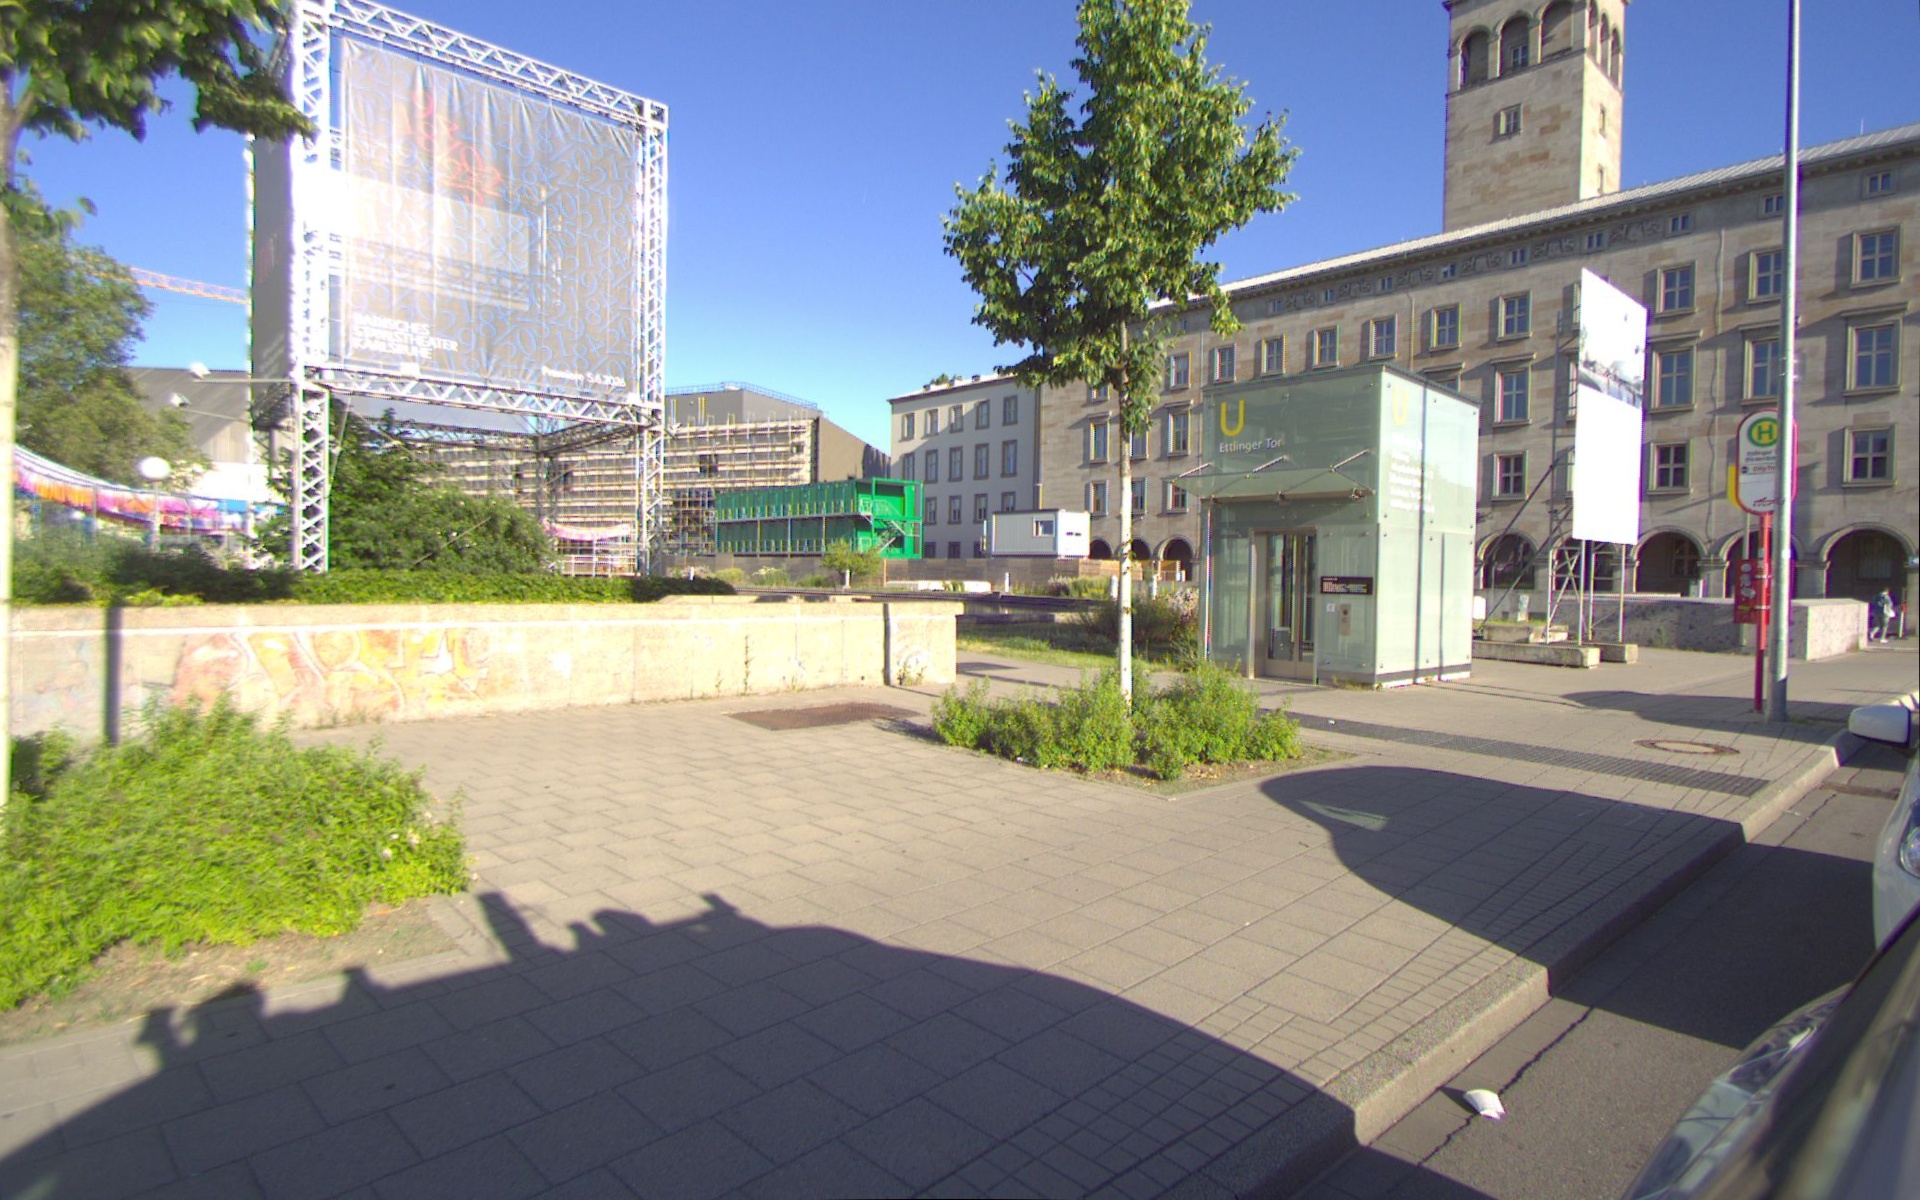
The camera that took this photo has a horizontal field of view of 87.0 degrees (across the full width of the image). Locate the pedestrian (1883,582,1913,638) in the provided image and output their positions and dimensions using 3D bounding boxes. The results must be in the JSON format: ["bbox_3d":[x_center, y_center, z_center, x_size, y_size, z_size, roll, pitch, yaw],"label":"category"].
[{"bbox_3d":[29.801,0.303,32.147,0.572,1.732,0.595,0,1,-41],"label":"pedestrian"}]

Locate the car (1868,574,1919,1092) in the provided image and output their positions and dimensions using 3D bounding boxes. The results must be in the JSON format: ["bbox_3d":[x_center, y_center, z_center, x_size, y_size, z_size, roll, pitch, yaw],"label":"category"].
[{"bbox_3d":[4.645,0.678,3.665,3.930,1.473,1.518,0,2,-41],"label":"car"}]
